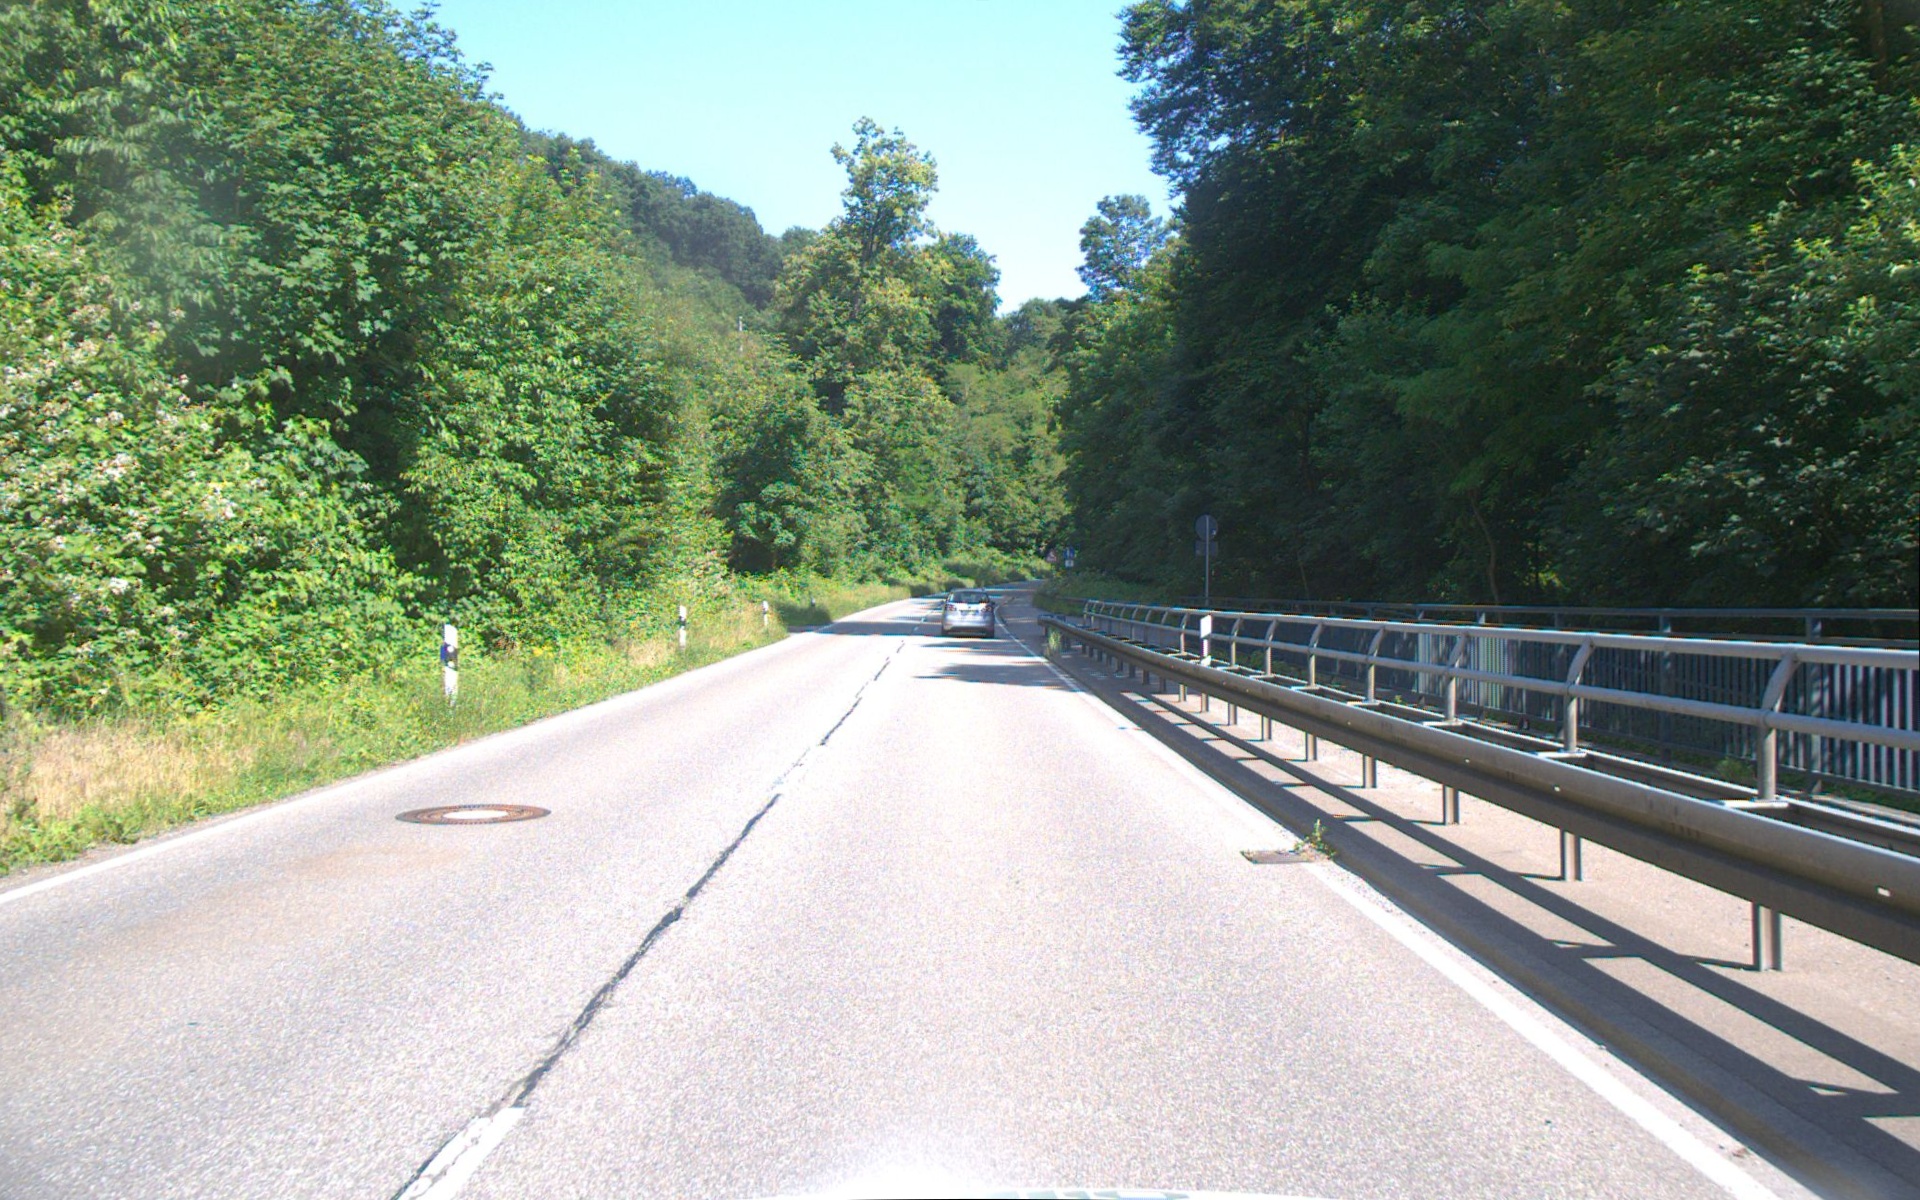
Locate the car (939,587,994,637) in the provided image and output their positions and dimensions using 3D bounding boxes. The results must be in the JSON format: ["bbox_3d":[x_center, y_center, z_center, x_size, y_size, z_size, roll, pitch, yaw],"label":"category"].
[{"bbox_3d":[0.223,0.384,54.338,1.715,1.546,4.159,-1,0,0],"label":"car"}]
